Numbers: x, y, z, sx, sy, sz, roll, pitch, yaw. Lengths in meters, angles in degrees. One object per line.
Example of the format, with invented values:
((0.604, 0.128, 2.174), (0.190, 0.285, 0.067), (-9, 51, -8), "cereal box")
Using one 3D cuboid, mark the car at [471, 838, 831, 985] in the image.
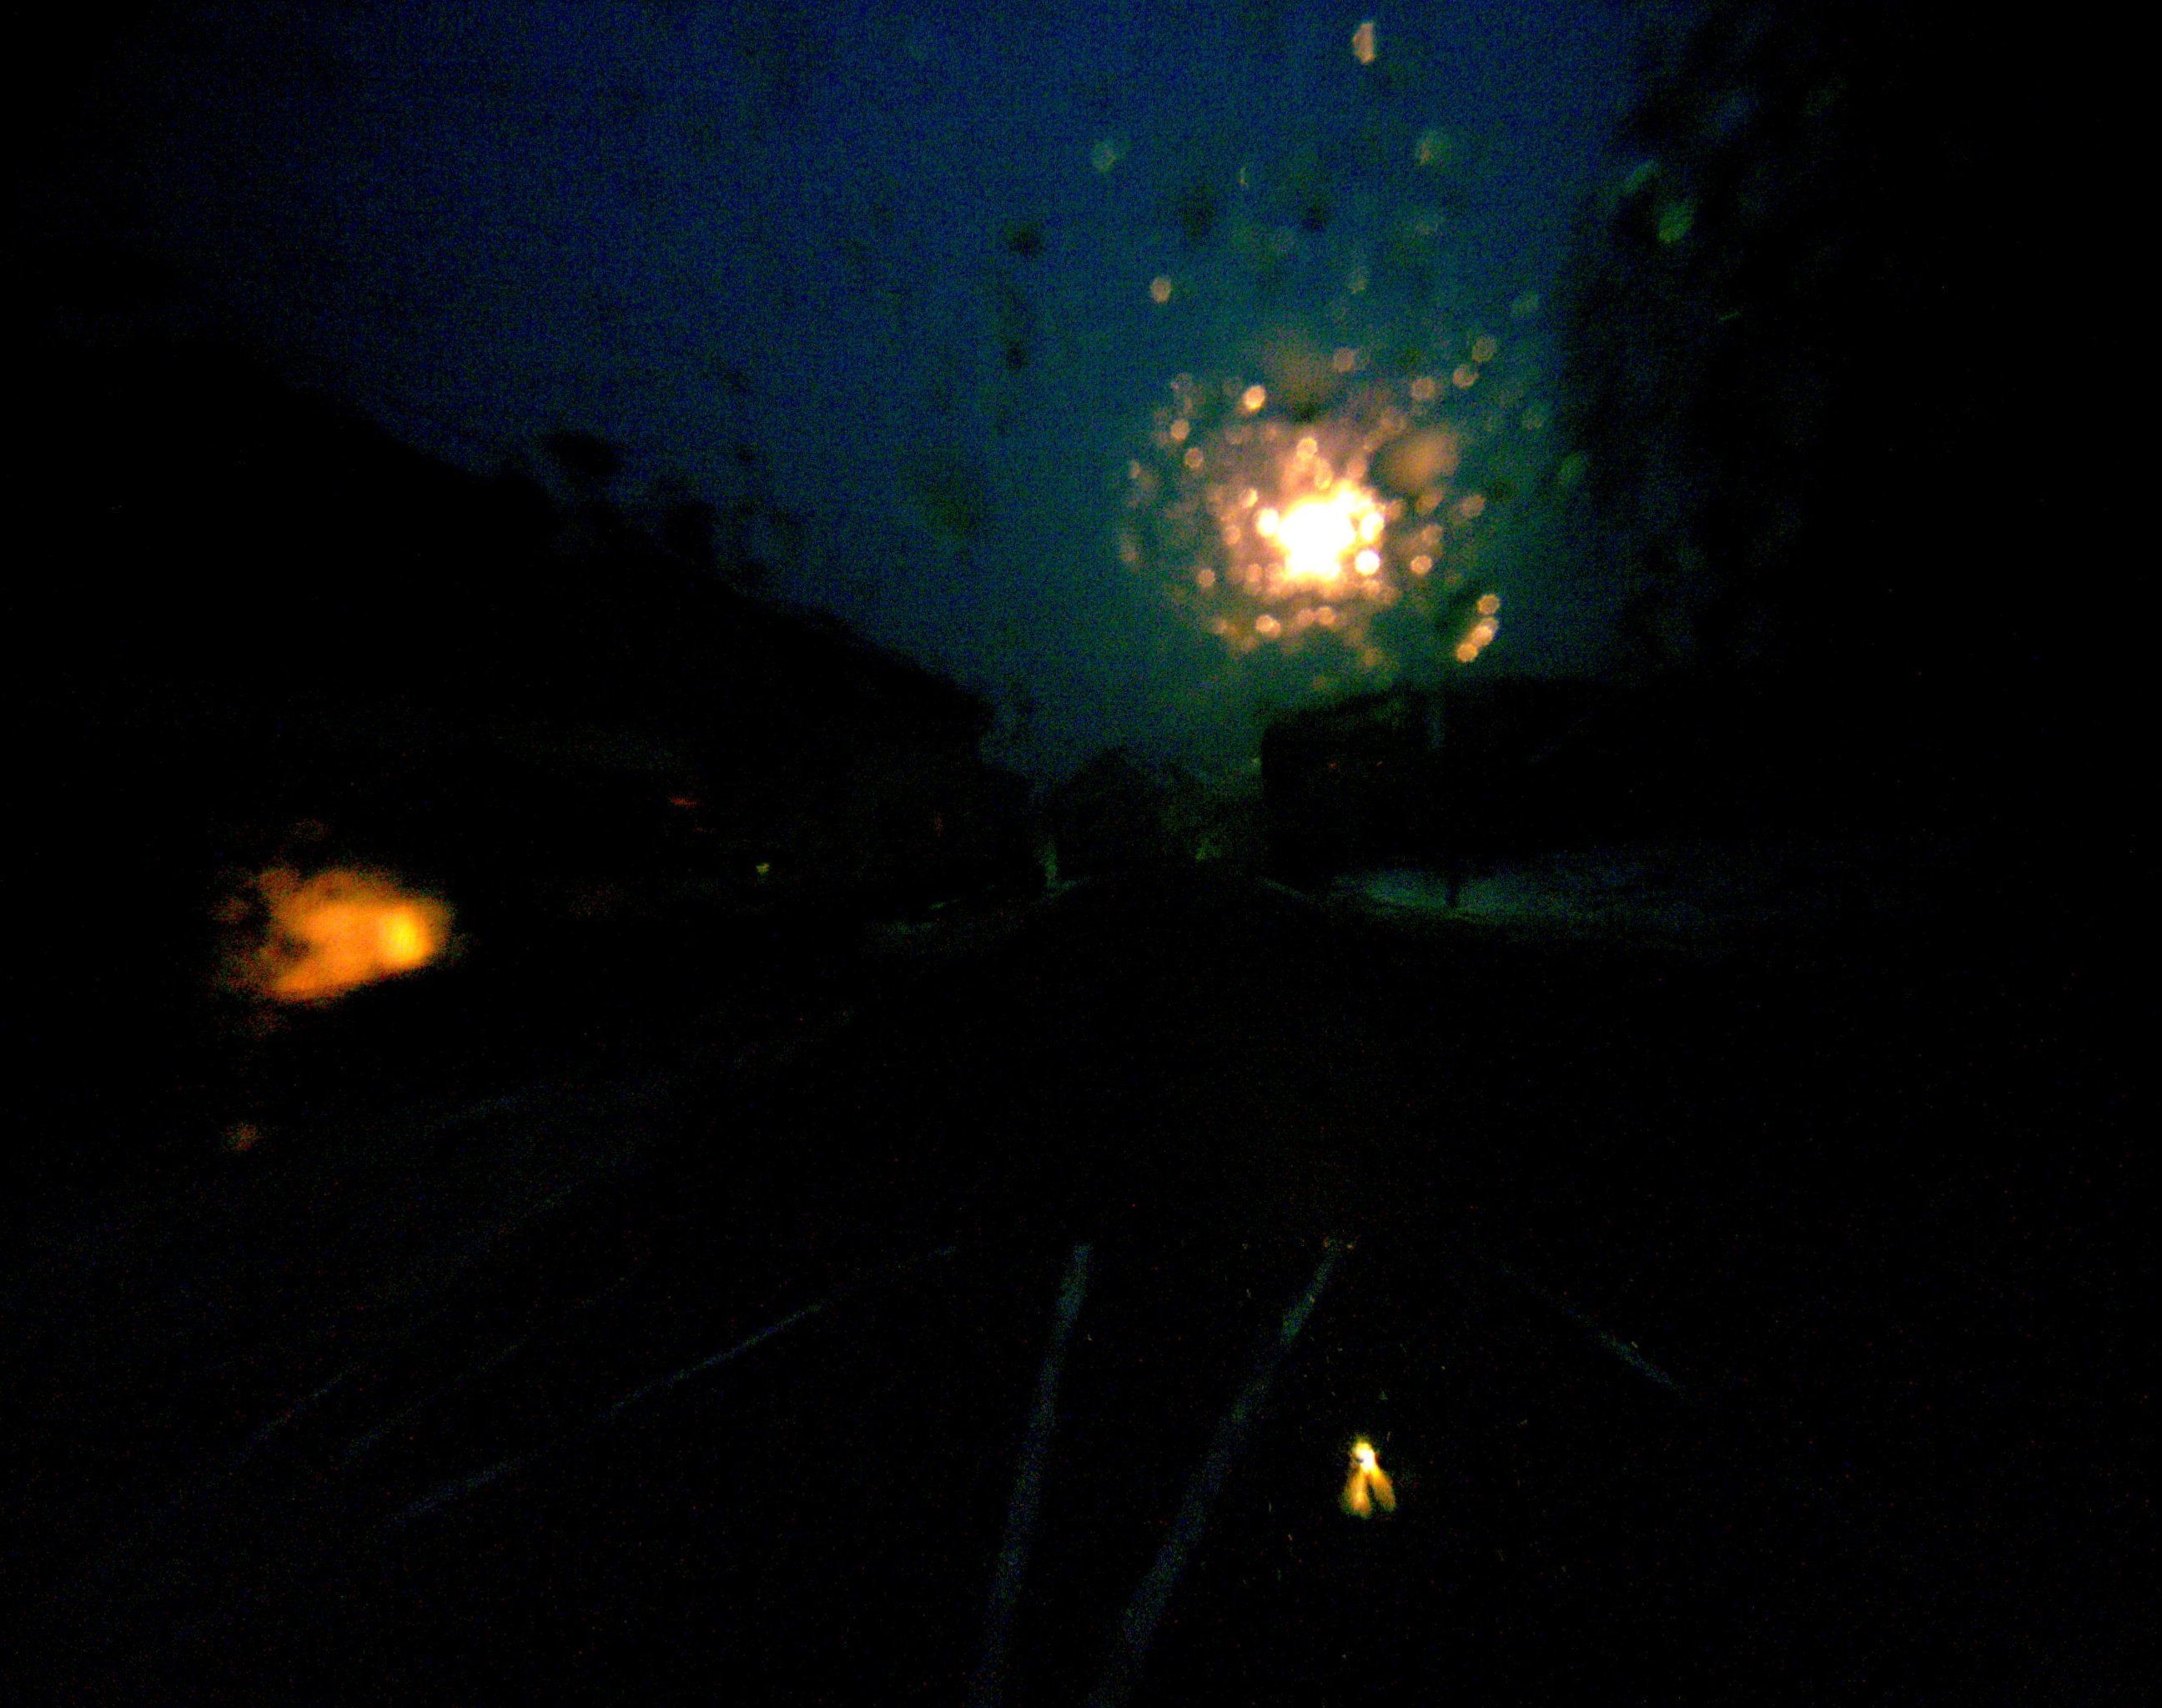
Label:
((-6.050, 0.744, 10.904), (4.212, 1.848, 1.913), (-1, 2, 12), "car")
